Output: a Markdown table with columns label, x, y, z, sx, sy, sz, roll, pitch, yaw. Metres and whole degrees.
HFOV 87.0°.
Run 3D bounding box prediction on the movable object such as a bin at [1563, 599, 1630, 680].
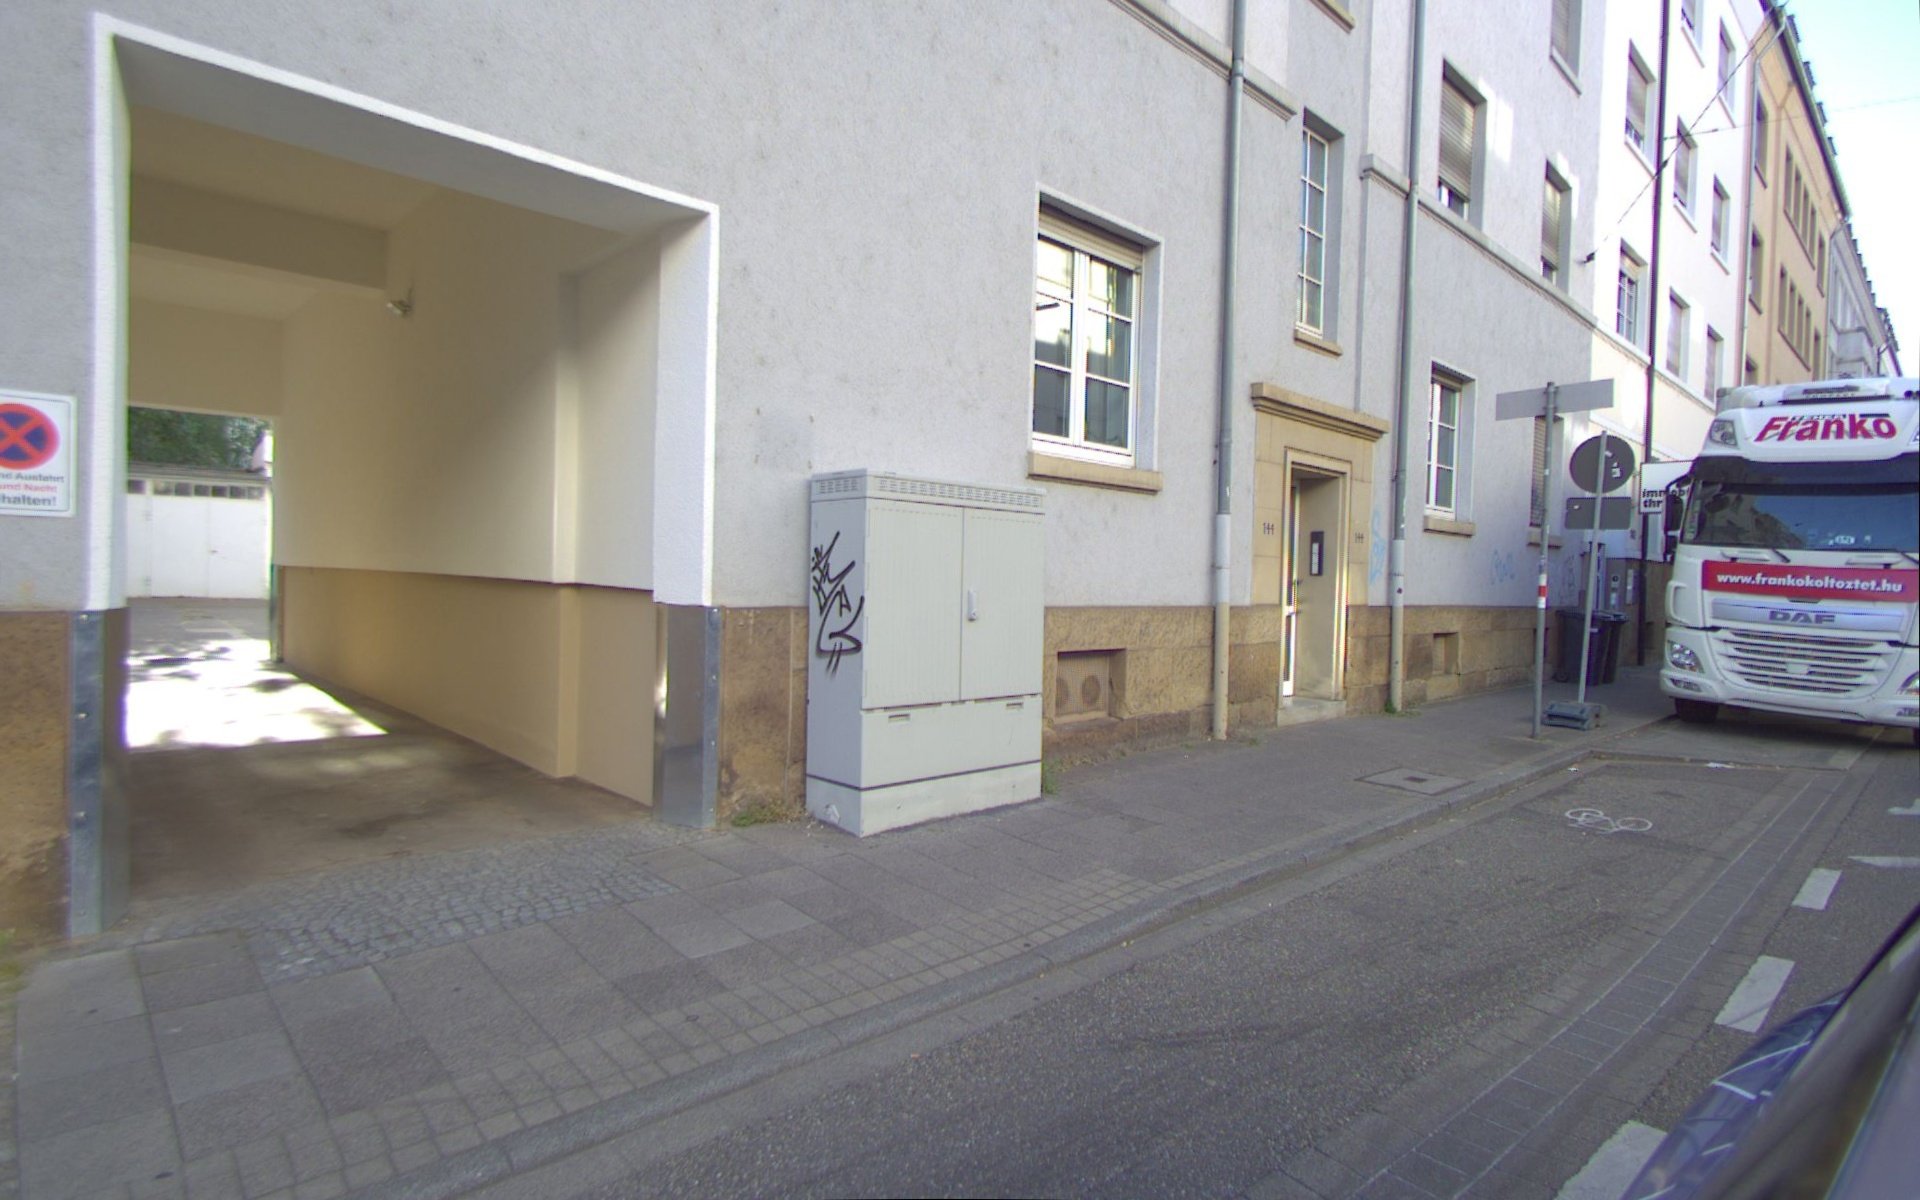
| label | x | y | z | sx | sy | sz | roll | pitch | yaw |
| --- | --- | --- | --- | --- | --- | --- | --- | --- | --- |
| movable object such as a bin | 9.175 | 0.551 | 14.585 | 0.560 | 1.107 | 0.665 | 0 | 2 | -43 |

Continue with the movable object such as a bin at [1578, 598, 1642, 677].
| label | x | y | z | sx | sy | sz | roll | pitch | yaw |
| --- | --- | --- | --- | --- | --- | --- | --- | --- | --- |
| movable object such as a bin | 9.654 | 0.542 | 15.036 | 0.560 | 1.107 | 0.665 | 0 | 2 | -43 |

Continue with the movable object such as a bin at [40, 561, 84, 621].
| label | x | y | z | sx | sy | sz | roll | pitch | yaw |
| --- | --- | --- | --- | --- | --- | --- | --- | --- | --- |
| movable object such as a bin | -14.373 | -0.147 | 16.196 | 0.518 | 0.922 | 0.580 | 0 | 2 | -43 |

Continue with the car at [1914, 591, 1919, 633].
| label | x | y | z | sx | sy | sz | roll | pitch | yaw |
| --- | --- | --- | --- | --- | --- | --- | --- | --- | --- |
| car | 37.679 | 0.460 | 38.627 | 4.080 | 1.551 | 1.681 | 0 | 0 | -44 |

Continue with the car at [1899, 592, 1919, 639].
| label | x | y | z | sx | sy | sz | roll | pitch | yaw |
| --- | --- | --- | --- | --- | --- | --- | --- | --- | --- |
| car | 33.509 | 0.527 | 34.730 | 4.080 | 1.551 | 1.681 | 0 | 0 | -44 |

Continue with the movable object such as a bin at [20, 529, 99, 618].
| label | x | y | z | sx | sy | sz | roll | pitch | yaw |
| --- | --- | --- | --- | --- | --- | --- | --- | --- | --- |
| movable object such as a bin | -15.150 | -0.454 | 17.015 | 0.946 | 1.426 | 1.597 | 0 | 2 | -43 |

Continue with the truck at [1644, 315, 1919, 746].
| label | x | y | z | sx | sy | sz | roll | pitch | yaw |
| --- | --- | --- | --- | --- | --- | --- | --- | --- | --- |
| truck | 12.579 | -0.680 | 13.878 | 11.621 | 3.975 | 2.778 | 0 | 2 | -44 |
